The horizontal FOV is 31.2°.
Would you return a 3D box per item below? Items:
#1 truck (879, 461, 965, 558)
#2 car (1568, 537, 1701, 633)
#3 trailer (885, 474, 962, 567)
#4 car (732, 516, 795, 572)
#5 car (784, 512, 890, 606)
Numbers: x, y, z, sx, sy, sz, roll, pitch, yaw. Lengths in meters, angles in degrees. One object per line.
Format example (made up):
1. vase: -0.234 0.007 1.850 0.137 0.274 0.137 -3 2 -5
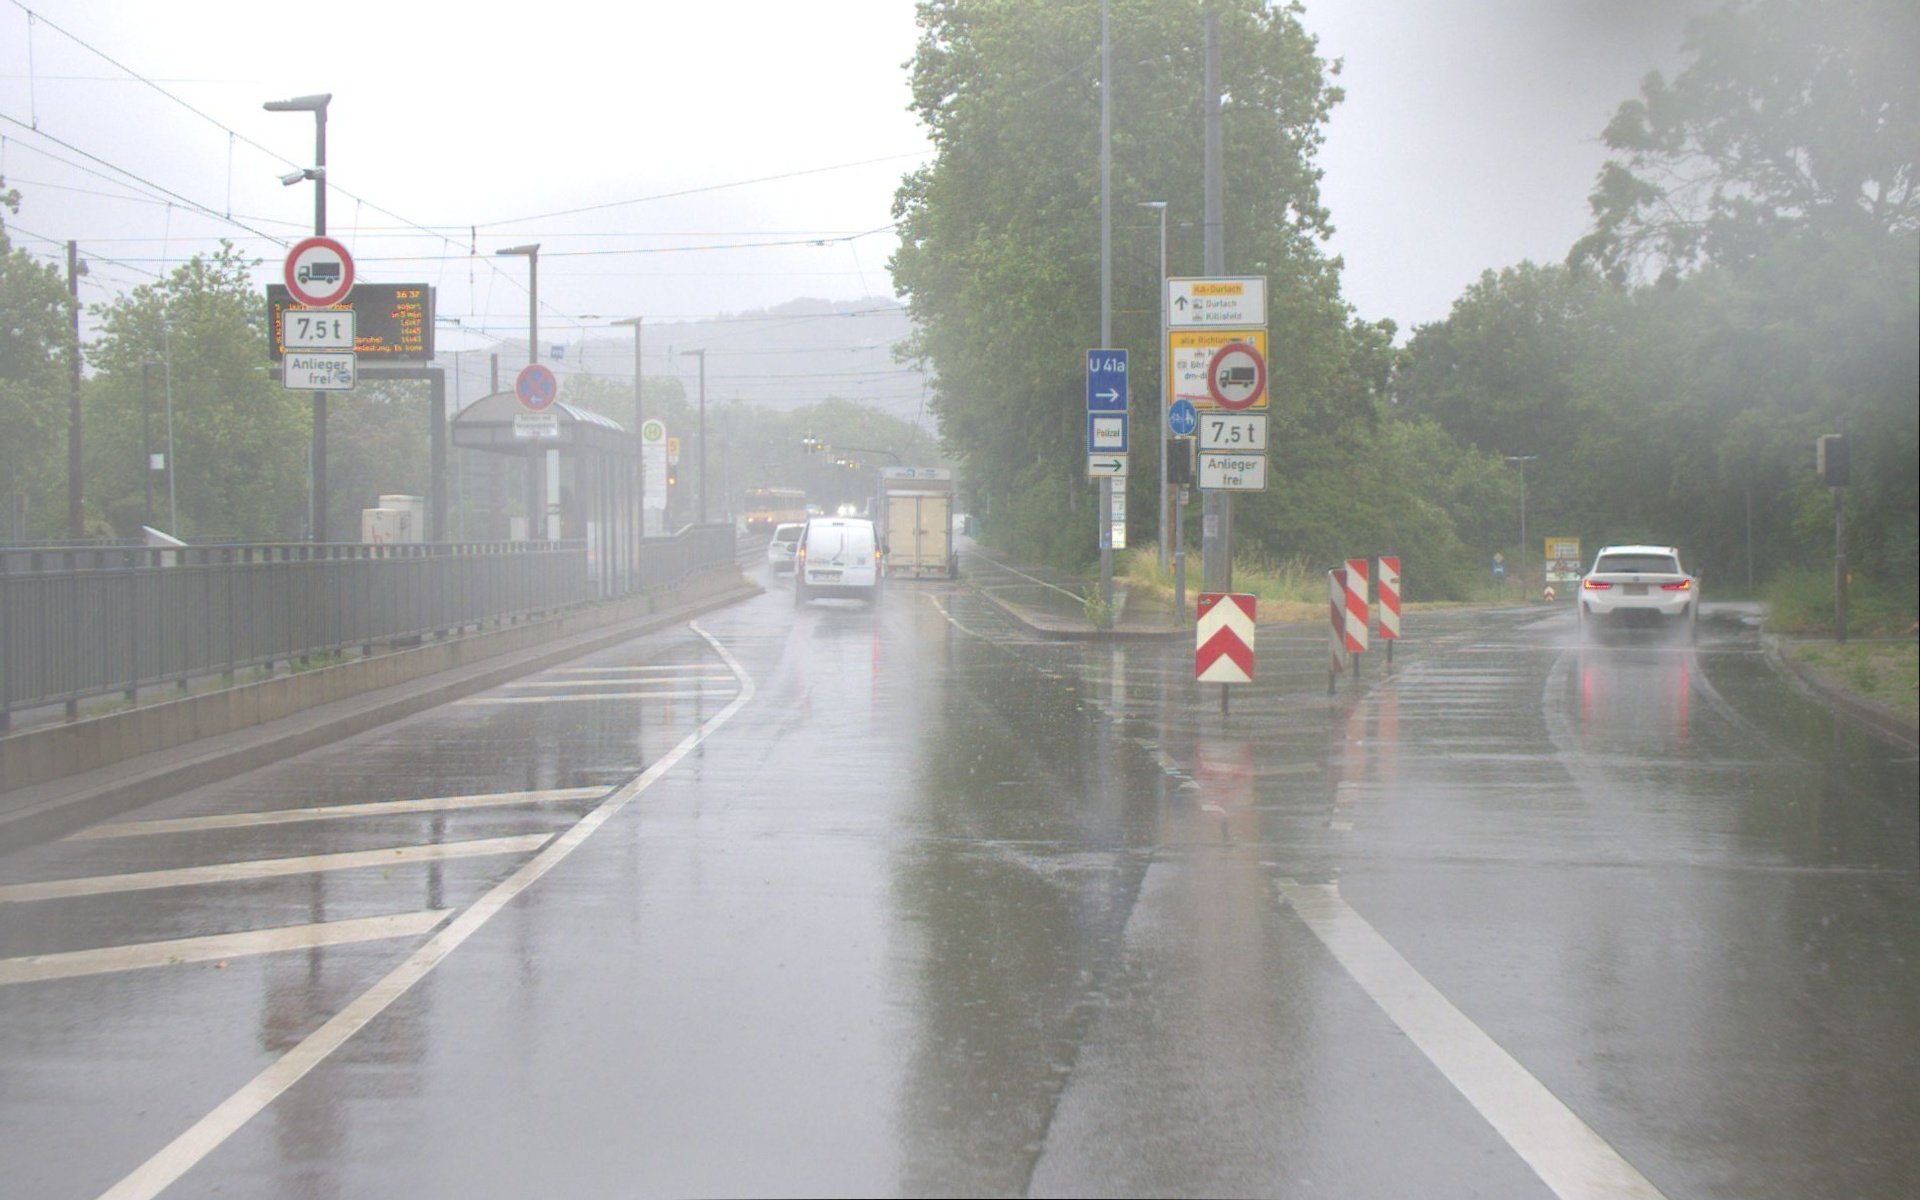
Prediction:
1. truck: -1.577 -3.537 136.733 2.775 3.691 9.854 0 1 -4
2. car: 10.644 -0.259 54.075 1.889 1.426 3.998 1 1 13
3. trailer: -1.083 -2.405 105.538 2.166 2.748 5.676 1 1 1
4. car: -5.962 -1.698 104.683 1.786 1.637 3.968 0 1 -1
5. car: -2.534 -0.861 69.957 1.993 1.842 4.001 0 1 -4
